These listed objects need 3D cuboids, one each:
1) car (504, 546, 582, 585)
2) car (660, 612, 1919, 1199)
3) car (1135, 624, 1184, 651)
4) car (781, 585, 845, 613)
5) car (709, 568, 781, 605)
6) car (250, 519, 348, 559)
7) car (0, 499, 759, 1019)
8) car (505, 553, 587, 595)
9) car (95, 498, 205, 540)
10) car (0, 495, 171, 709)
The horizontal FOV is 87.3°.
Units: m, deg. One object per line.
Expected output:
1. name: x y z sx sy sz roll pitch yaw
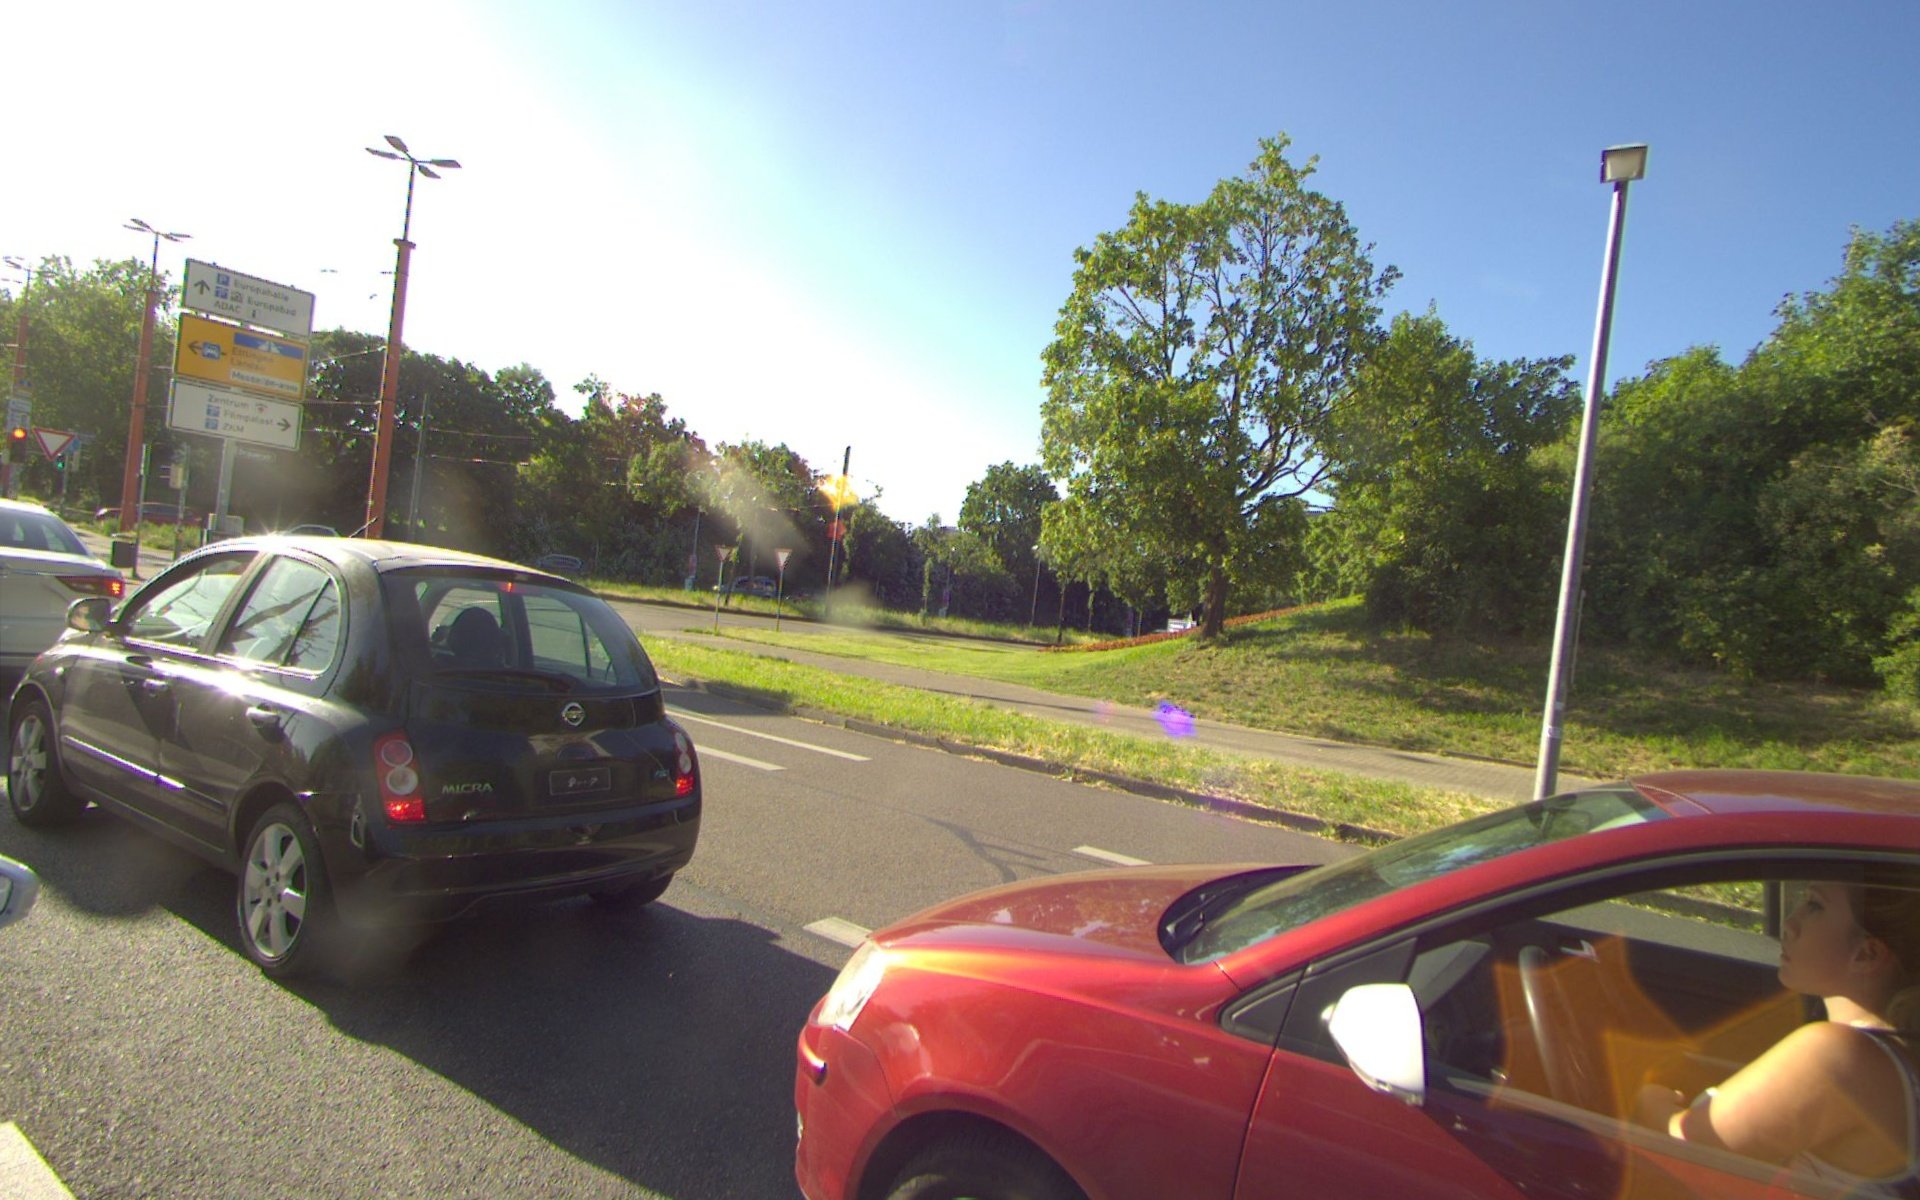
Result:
1. car: -25.859 -2.149 62.381 4.092 1.812 1.783 8 -1 -33
2. car: 1.351 1.002 1.865 3.629 1.477 1.579 6 -2 32
3. car: 17.416 3.295 87.679 4.093 1.771 1.642 8 -1 -33
4. car: -10.400 -0.052 71.411 4.093 1.419 1.642 8 -1 -33
5. car: -13.910 -0.852 65.120 4.087 1.812 1.786 8 -1 -29
6. car: -34.577 -3.177 52.766 4.090 1.419 1.643 8 -1 -31
7. car: -2.792 0.467 4.620 3.385 1.457 1.579 6 -2 32
8. car: -24.325 -1.521 59.132 4.090 1.812 1.784 8 -1 -31
9. car: -41.845 -4.167 52.101 4.090 1.489 1.643 8 -1 -31
10. car: -8.365 -0.175 8.075 4.256 1.457 1.802 6 -2 33
